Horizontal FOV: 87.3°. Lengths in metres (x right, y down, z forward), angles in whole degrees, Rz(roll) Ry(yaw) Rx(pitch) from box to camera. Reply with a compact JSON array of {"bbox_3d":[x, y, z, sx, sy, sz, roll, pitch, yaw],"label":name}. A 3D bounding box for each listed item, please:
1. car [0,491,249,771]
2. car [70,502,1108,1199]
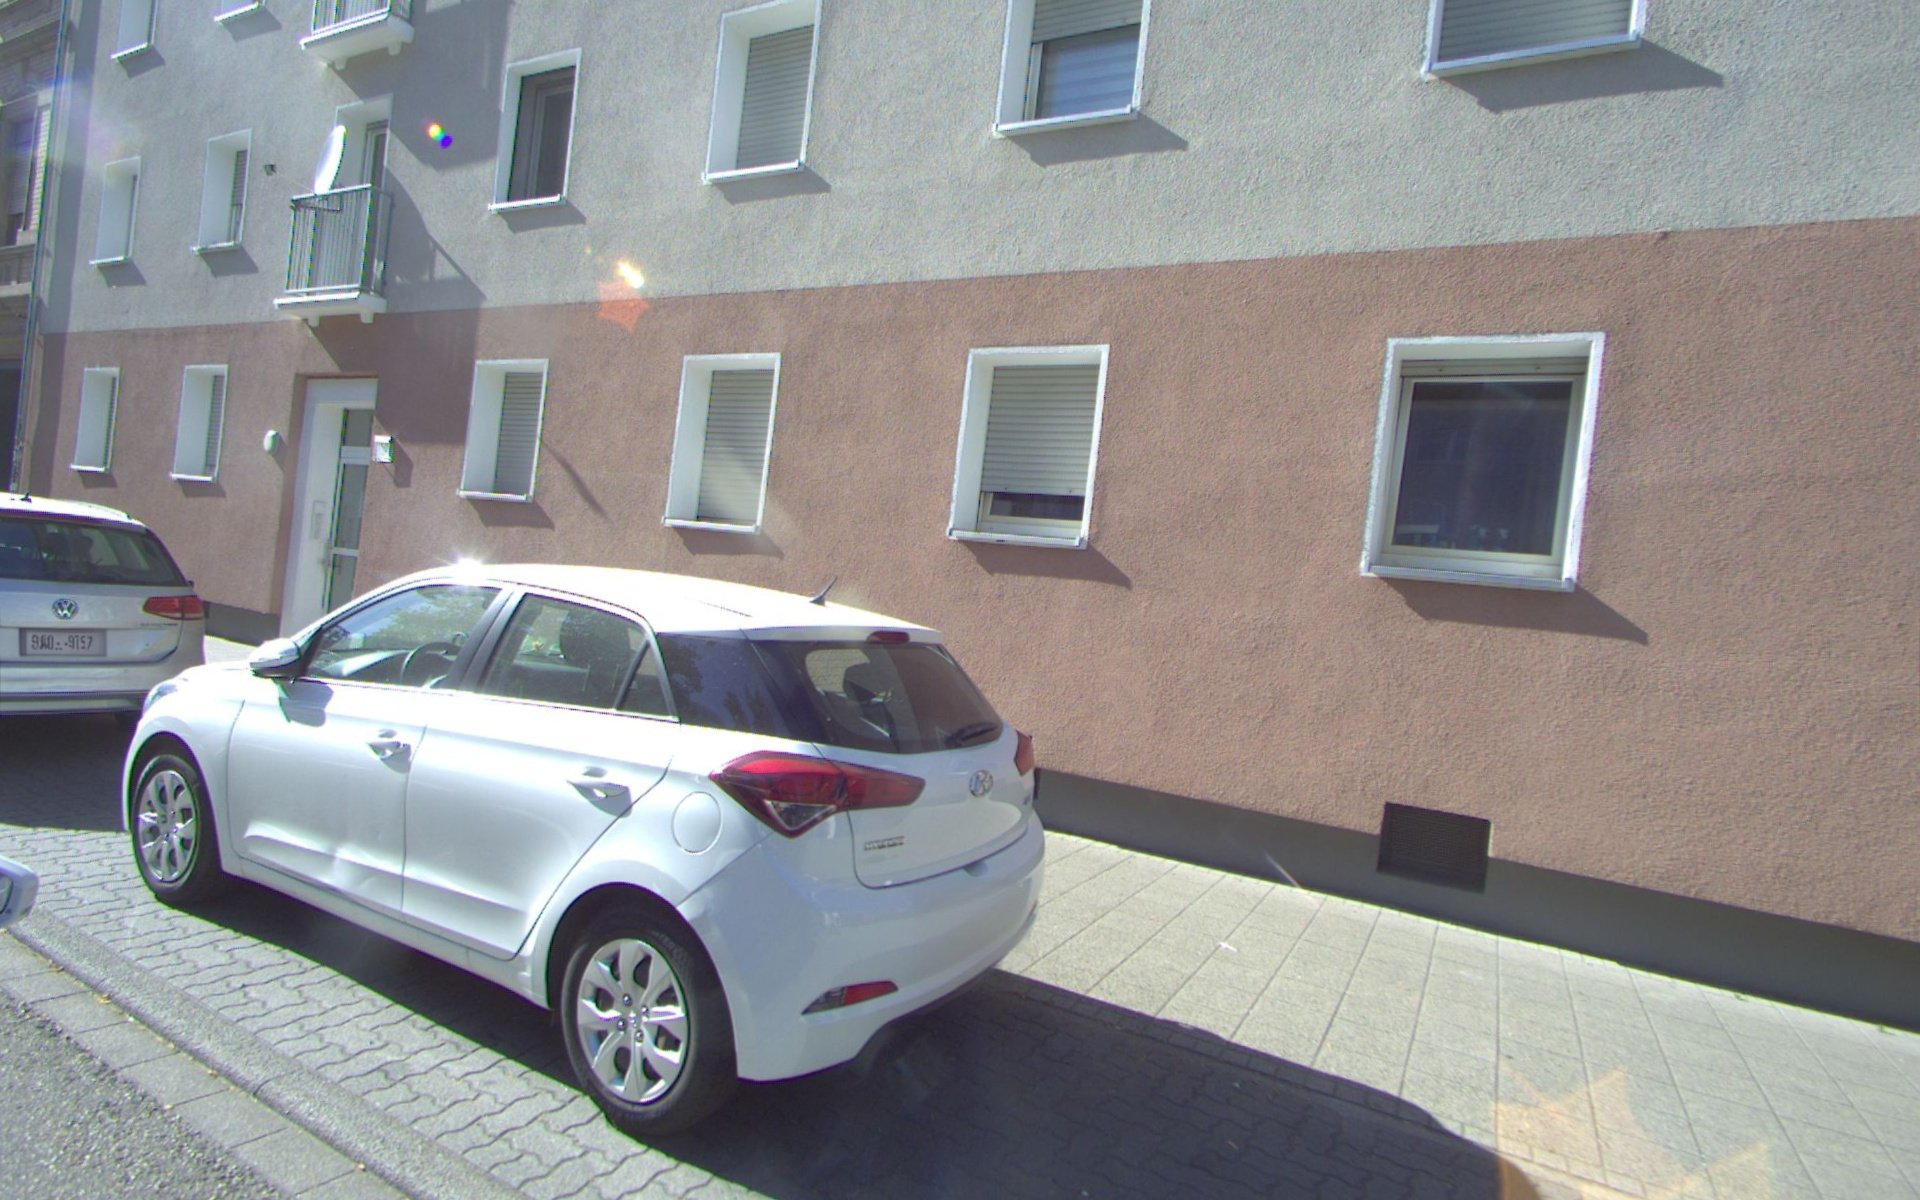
[{"bbox_3d":[-6.824,-0.022,6.642,4.441,1.478,1.787,6,0,31],"label":"car"},{"bbox_3d":[-1.538,0.578,3.996,3.729,1.505,1.734,6,1,28],"label":"car"}]
